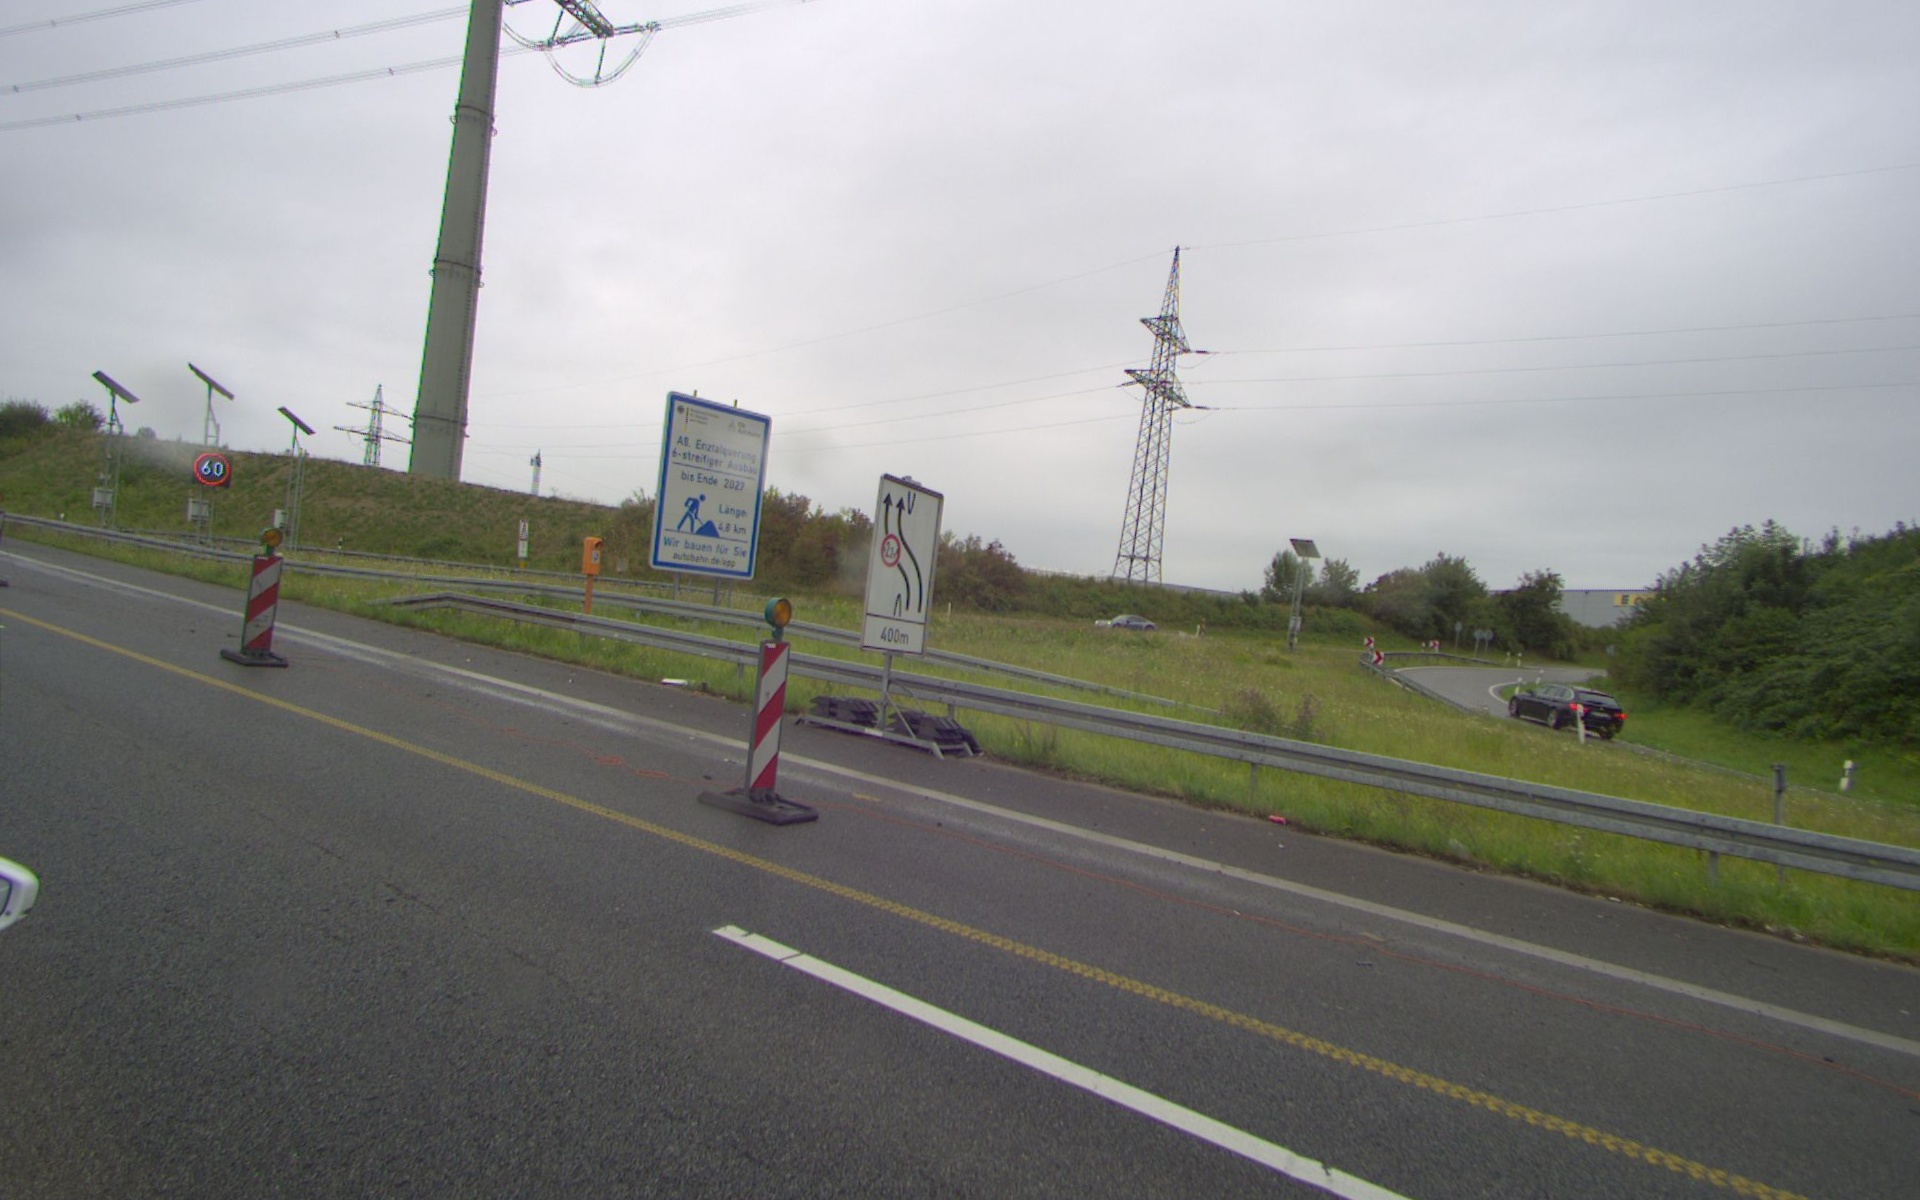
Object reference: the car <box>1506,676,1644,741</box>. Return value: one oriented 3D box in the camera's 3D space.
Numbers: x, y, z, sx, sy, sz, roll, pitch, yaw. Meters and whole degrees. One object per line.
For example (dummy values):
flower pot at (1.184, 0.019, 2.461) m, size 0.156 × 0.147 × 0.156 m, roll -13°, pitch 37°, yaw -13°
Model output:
car at (20.135, 3.499, 33.204) m, size 1.962 × 1.466 × 4.595 m, roll 7°, pitch 0°, yaw 6°

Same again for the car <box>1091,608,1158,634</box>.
car at (10.290, 1.300, 62.948) m, size 3.853 × 1.175 × 1.479 m, roll 7°, pitch 1°, yaw -22°
